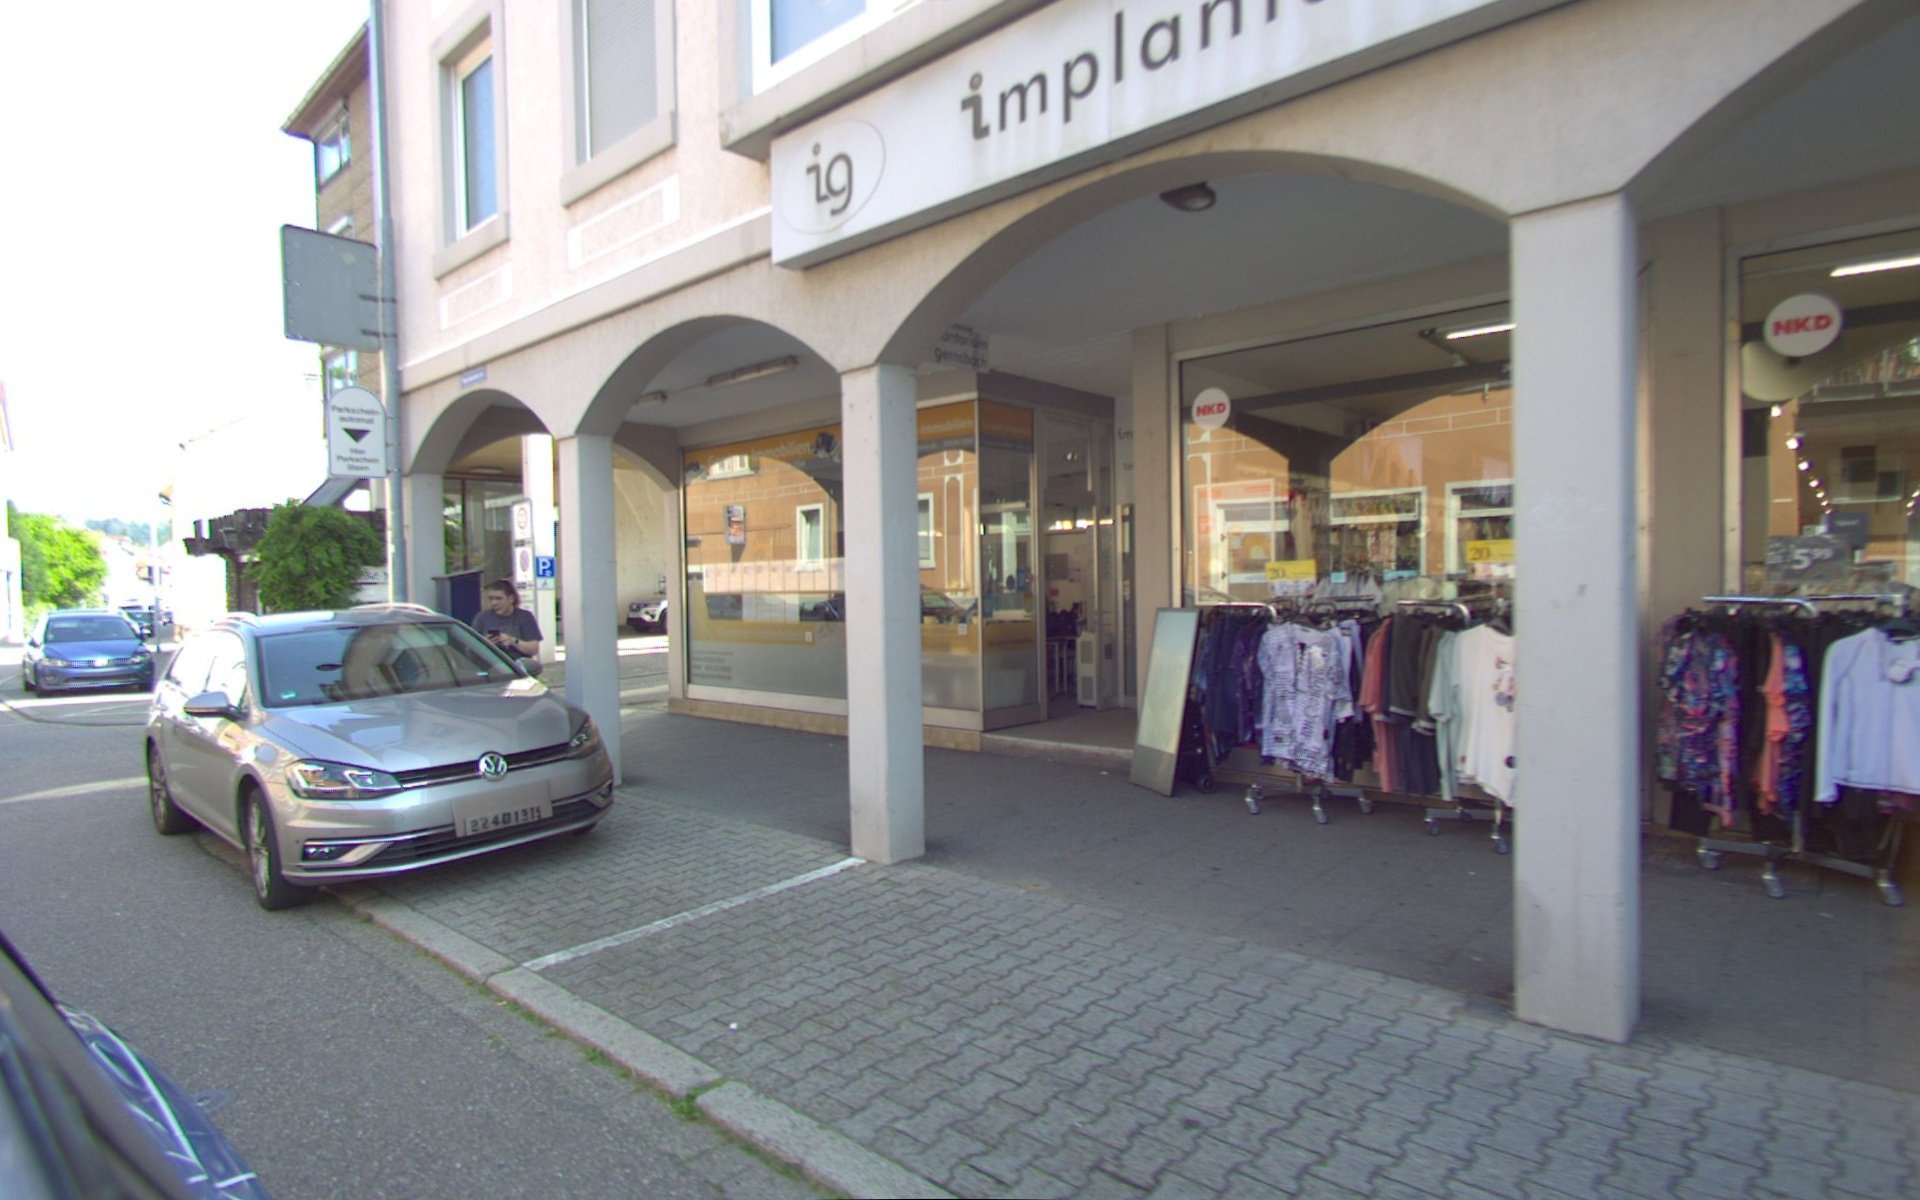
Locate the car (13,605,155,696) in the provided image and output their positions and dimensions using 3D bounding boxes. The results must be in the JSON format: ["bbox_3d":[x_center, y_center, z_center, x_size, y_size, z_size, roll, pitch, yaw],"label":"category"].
[{"bbox_3d":[-17.326,0.930,19.959,3.972,1.572,1.745,-1,0,44],"label":"car"}]

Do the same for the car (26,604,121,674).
[{"bbox_3d":[-23.290,0.984,26.705,1.657,1.681,3.979,-1,0,-38],"label":"car"}]

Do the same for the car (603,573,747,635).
[{"bbox_3d":[-7.511,0.081,26.767,3.210,1.497,1.696,-2,1,-42],"label":"car"}]

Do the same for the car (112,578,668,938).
[{"bbox_3d":[-3.845,0.683,6.406,4.455,1.481,1.784,-1,1,43],"label":"car"}]

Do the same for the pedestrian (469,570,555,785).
[{"bbox_3d":[-3.445,0.564,7.773,0.525,1.563,0.625,-2,0,-27],"label":"pedestrian"}]
